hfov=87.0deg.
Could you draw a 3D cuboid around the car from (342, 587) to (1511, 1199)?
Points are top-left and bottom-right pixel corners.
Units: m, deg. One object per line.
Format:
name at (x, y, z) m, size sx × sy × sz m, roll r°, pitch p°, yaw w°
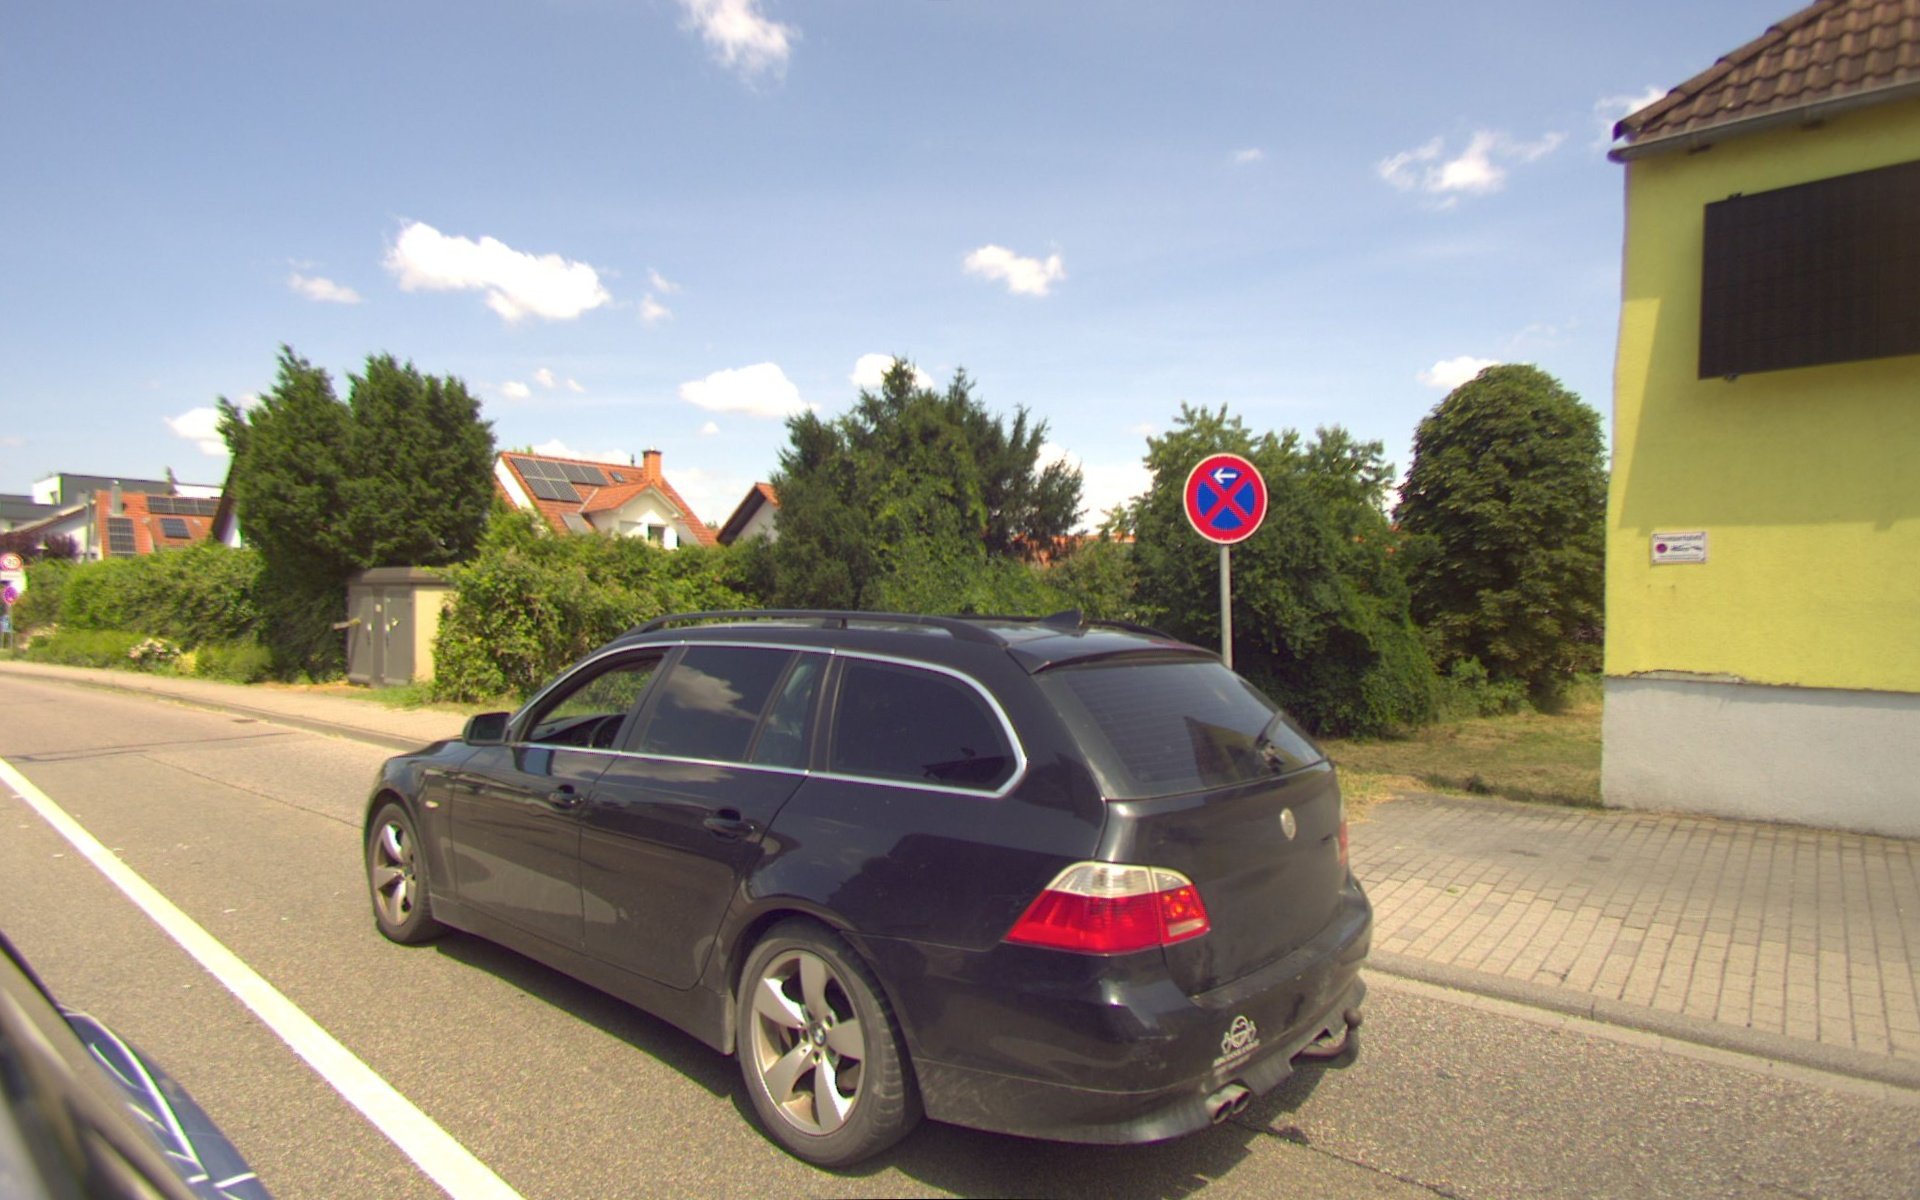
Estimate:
car at (-0.619, 0.762, 4.037) m, size 4.669 × 1.453 × 1.844 m, roll -1°, pitch -2°, yaw 41°
